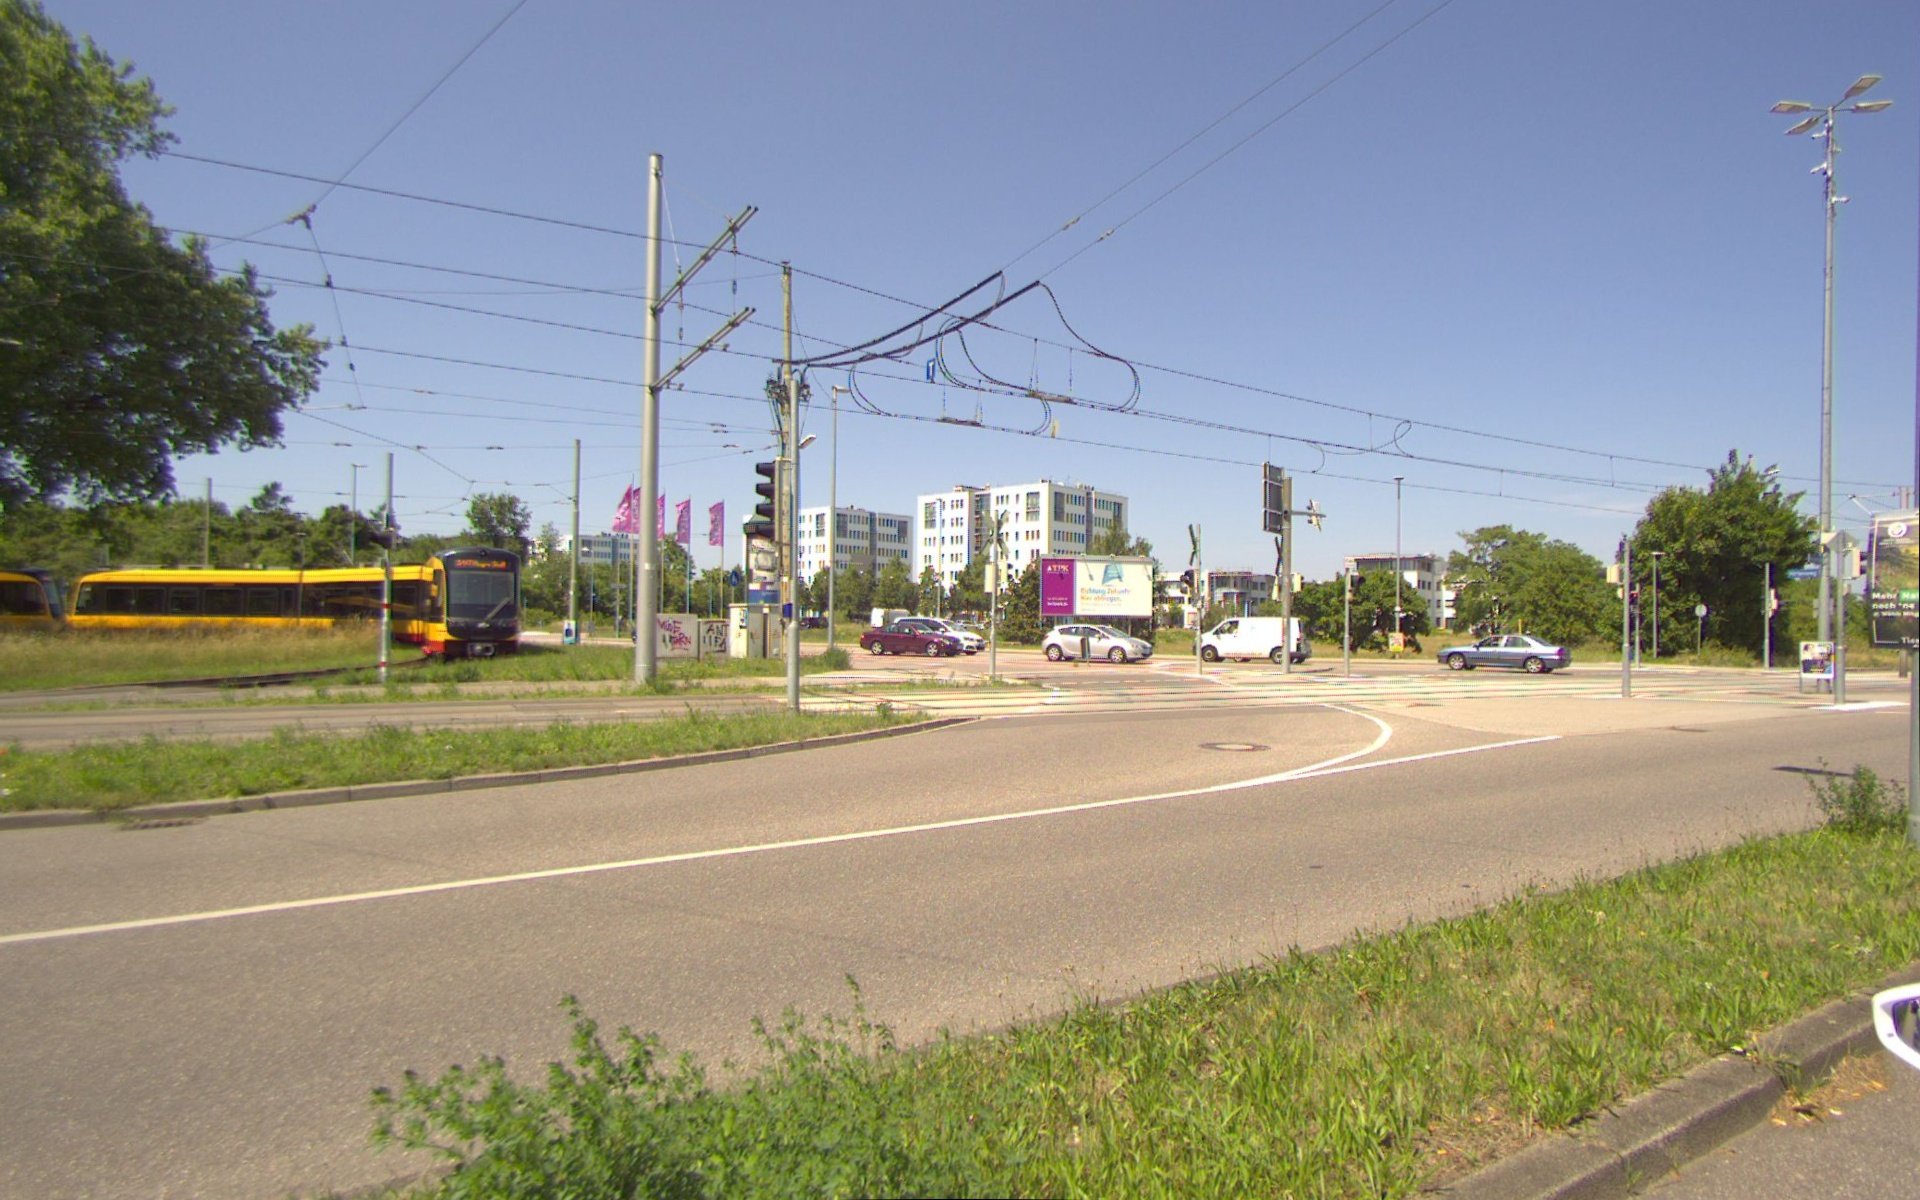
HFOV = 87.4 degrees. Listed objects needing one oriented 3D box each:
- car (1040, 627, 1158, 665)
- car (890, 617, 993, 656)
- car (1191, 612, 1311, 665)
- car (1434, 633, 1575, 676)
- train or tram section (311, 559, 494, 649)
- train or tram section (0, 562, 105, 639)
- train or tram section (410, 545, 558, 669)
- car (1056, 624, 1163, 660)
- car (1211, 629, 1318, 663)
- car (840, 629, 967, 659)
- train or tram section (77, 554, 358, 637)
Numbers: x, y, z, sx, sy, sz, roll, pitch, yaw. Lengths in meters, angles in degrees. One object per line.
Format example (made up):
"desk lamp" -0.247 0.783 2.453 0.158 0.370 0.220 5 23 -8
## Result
"car" 5.509 1.784 39.790 4.203 1.311 1.997 0 0 29
"car" -0.861 1.677 47.213 4.456 1.660 1.997 0 0 28
"car" 12.554 1.607 43.318 4.661 2.139 1.997 0 0 28
"car" 20.484 2.003 37.891 4.369 1.390 1.887 0 0 44
"train or tram section" -24.180 0.070 43.242 10.059 3.512 3.035 2 0 37
"train or tram section" -47.626 -0.084 45.922 12.580 3.512 3.027 1 0 -26
"train or tram section" -16.820 0.121 34.736 3.013 3.512 13.172 1 0 -32
"car" 6.465 1.784 43.466 4.203 1.431 1.896 0 0 29
"car" 13.975 2.077 46.212 4.361 1.390 1.890 0 0 39
"car" -2.430 1.871 43.314 5.135 1.147 1.899 0 0 18
"train or tram section" -35.031 -0.263 47.442 12.491 3.512 3.048 1 0 11
